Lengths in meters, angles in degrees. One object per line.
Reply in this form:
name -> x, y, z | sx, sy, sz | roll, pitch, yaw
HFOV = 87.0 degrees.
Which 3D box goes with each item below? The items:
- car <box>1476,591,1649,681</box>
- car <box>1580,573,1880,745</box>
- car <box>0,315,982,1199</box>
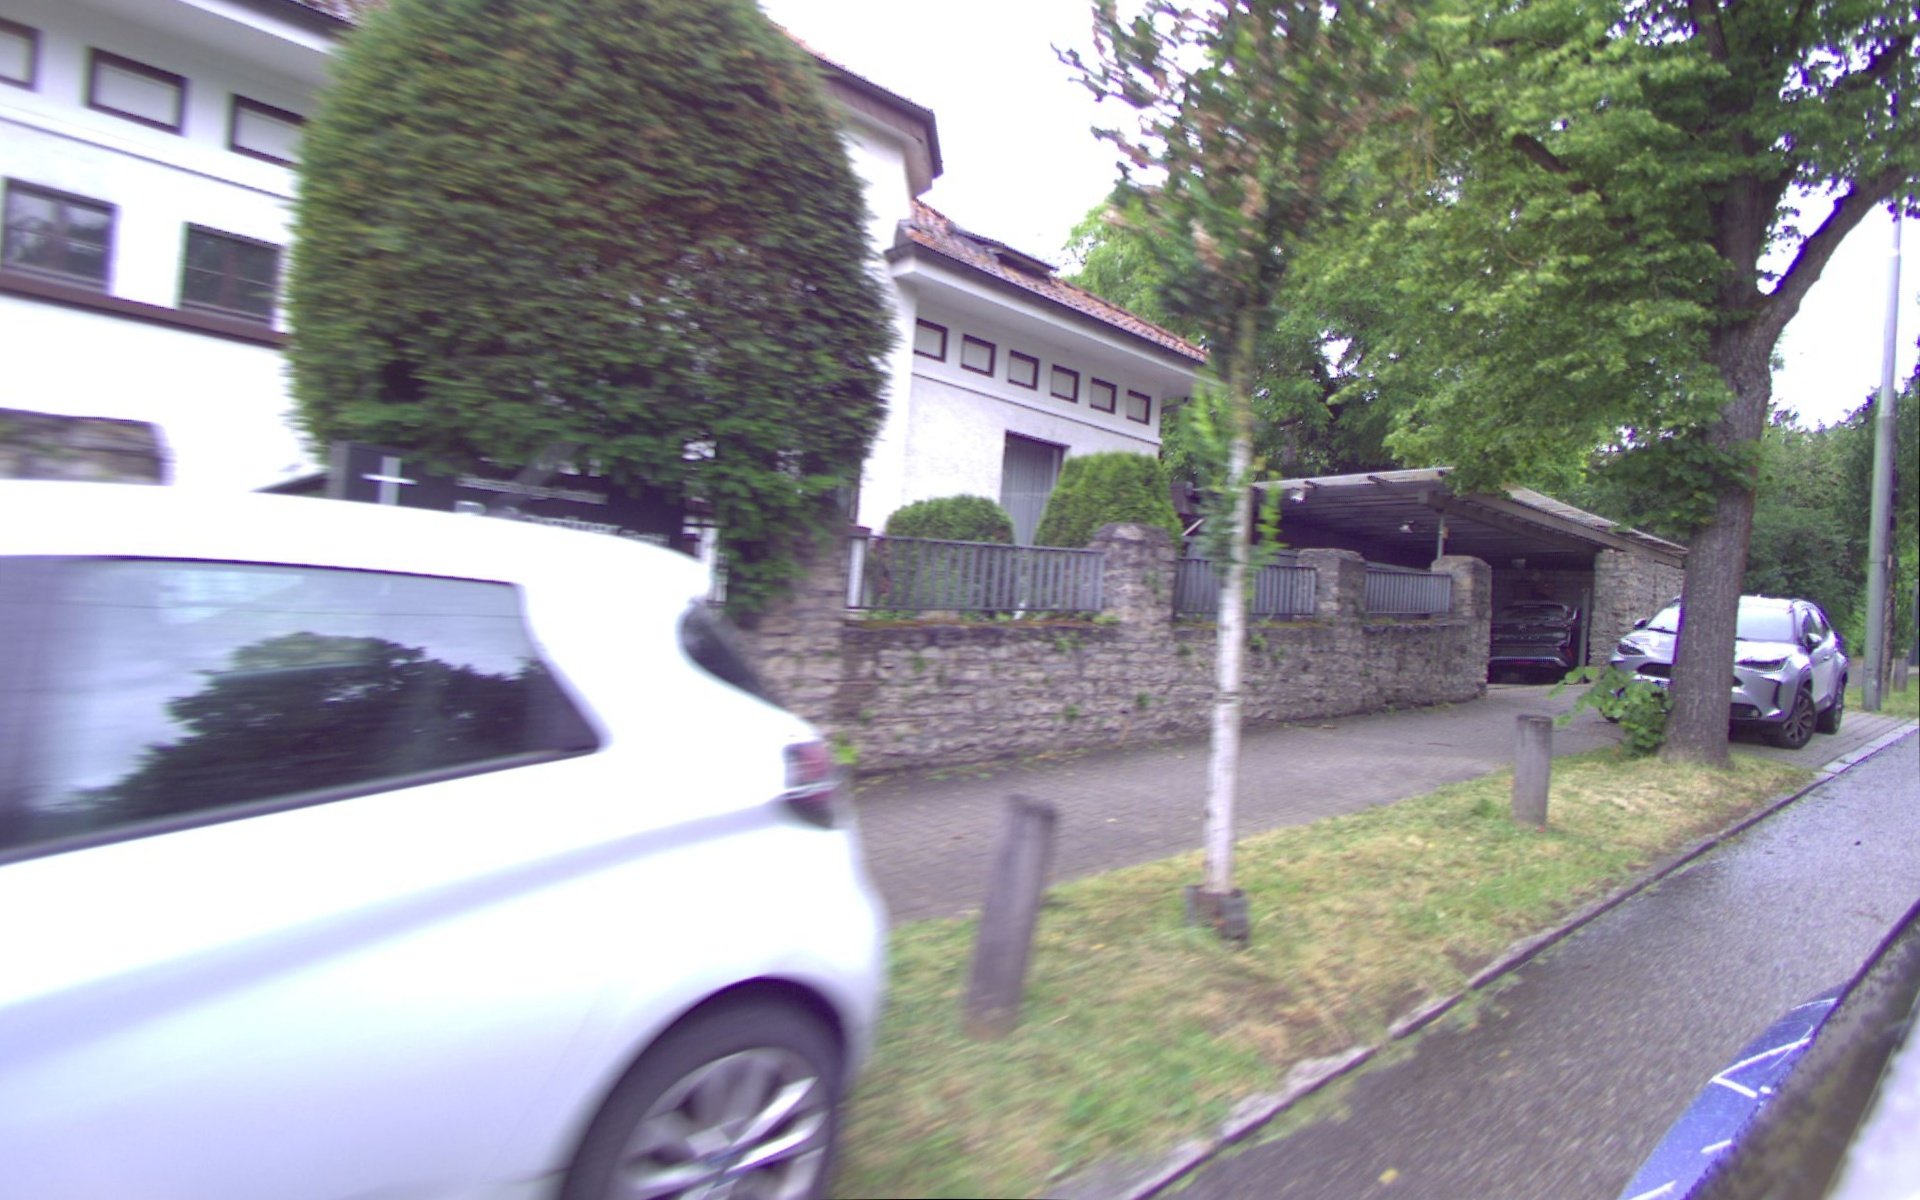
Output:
car -> 11.567, 0.728, 19.344 | 4.080, 1.551, 1.599 | 3, -5, -41
car -> 9.114, 0.609, 11.864 | 4.145, 1.586, 1.922 | 2, 2, -41
car -> -2.030, 0.452, 1.542 | 3.932, 1.649, 1.828 | 0, 3, -43
